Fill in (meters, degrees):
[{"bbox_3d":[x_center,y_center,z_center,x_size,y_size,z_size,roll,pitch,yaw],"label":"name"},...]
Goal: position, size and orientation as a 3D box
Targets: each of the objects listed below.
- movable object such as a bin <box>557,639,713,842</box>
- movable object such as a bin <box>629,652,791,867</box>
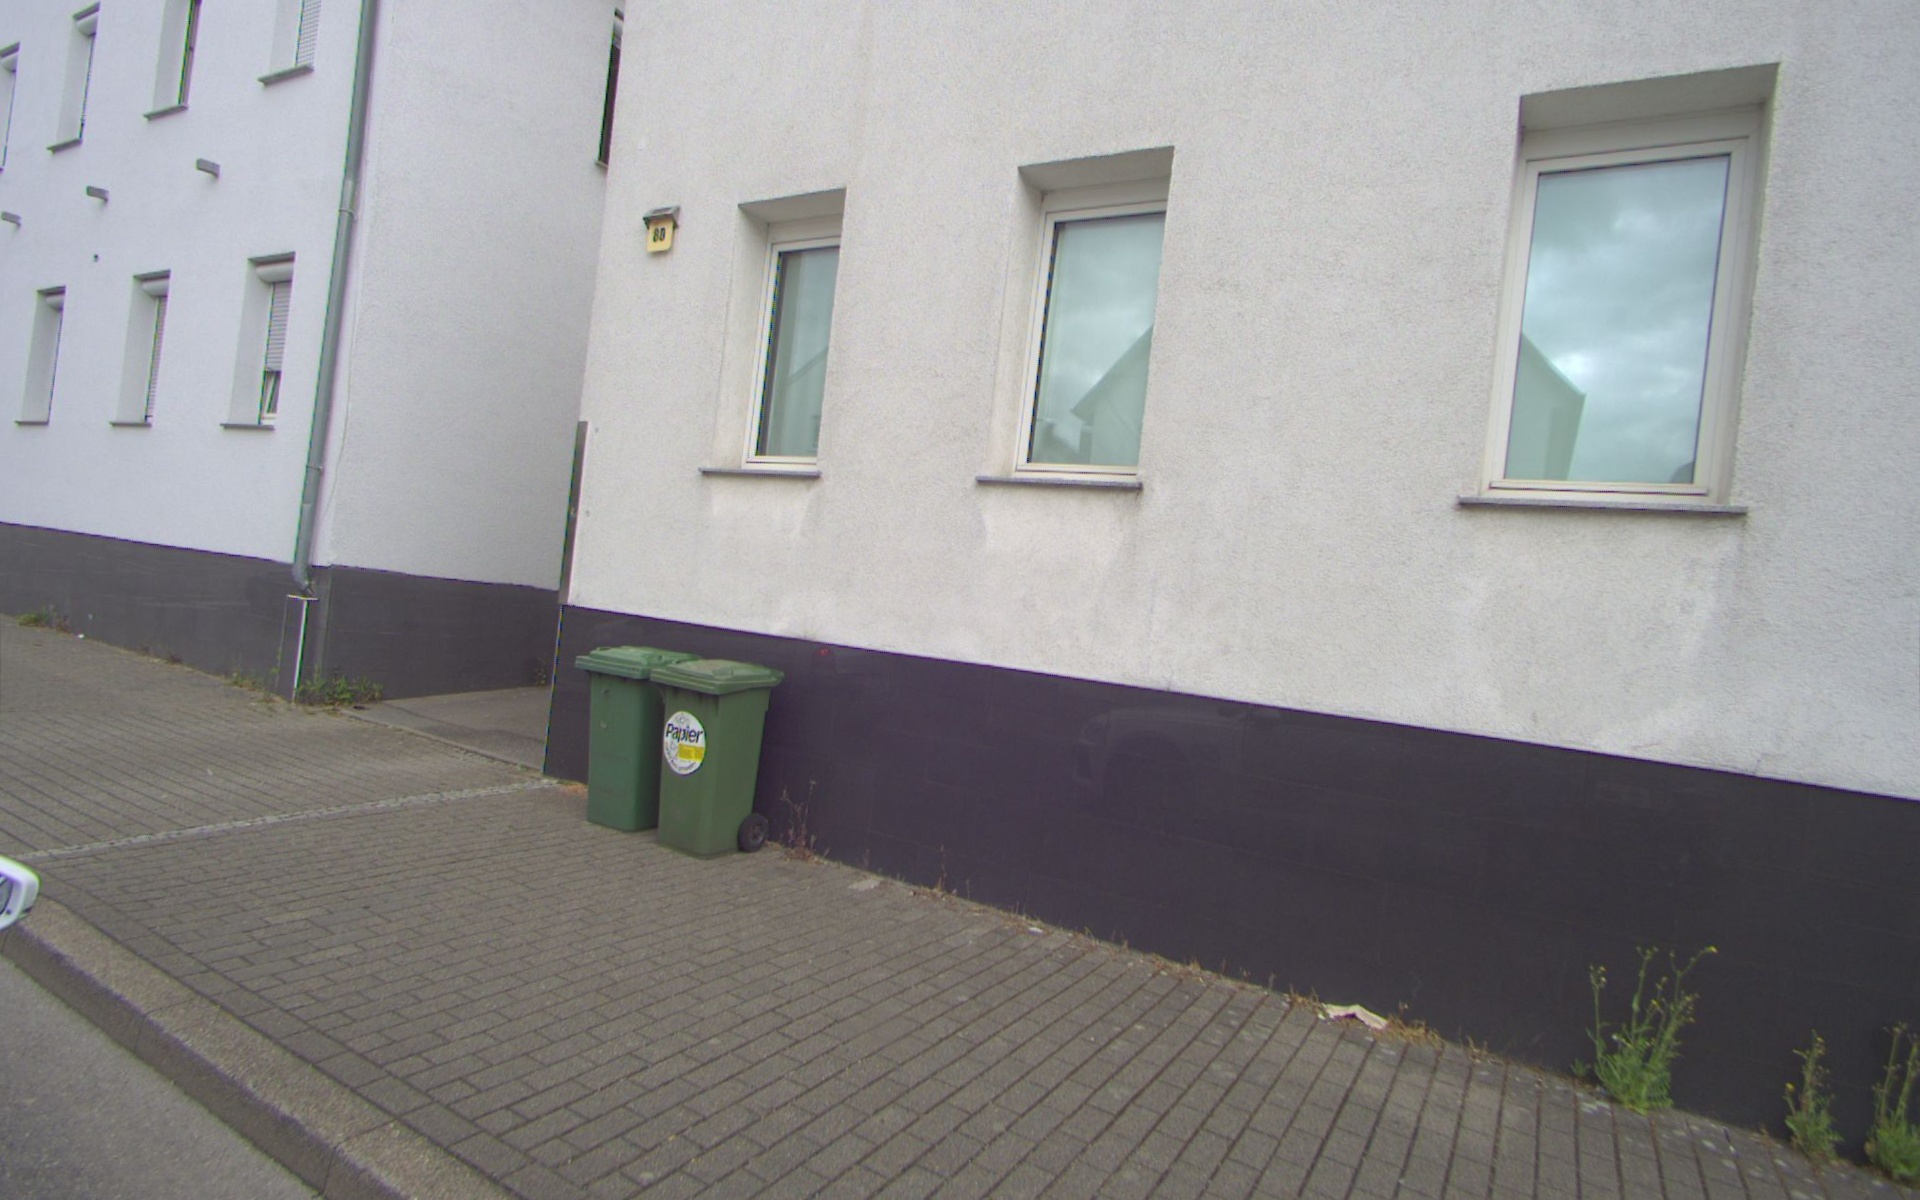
[{"bbox_3d":[-1.710,0.711,5.316,0.479,0.953,0.540,7,2,32],"label":"movable object such as a bin"},{"bbox_3d":[-1.252,0.764,5.059,0.479,0.953,0.540,7,2,32],"label":"movable object such as a bin"}]
